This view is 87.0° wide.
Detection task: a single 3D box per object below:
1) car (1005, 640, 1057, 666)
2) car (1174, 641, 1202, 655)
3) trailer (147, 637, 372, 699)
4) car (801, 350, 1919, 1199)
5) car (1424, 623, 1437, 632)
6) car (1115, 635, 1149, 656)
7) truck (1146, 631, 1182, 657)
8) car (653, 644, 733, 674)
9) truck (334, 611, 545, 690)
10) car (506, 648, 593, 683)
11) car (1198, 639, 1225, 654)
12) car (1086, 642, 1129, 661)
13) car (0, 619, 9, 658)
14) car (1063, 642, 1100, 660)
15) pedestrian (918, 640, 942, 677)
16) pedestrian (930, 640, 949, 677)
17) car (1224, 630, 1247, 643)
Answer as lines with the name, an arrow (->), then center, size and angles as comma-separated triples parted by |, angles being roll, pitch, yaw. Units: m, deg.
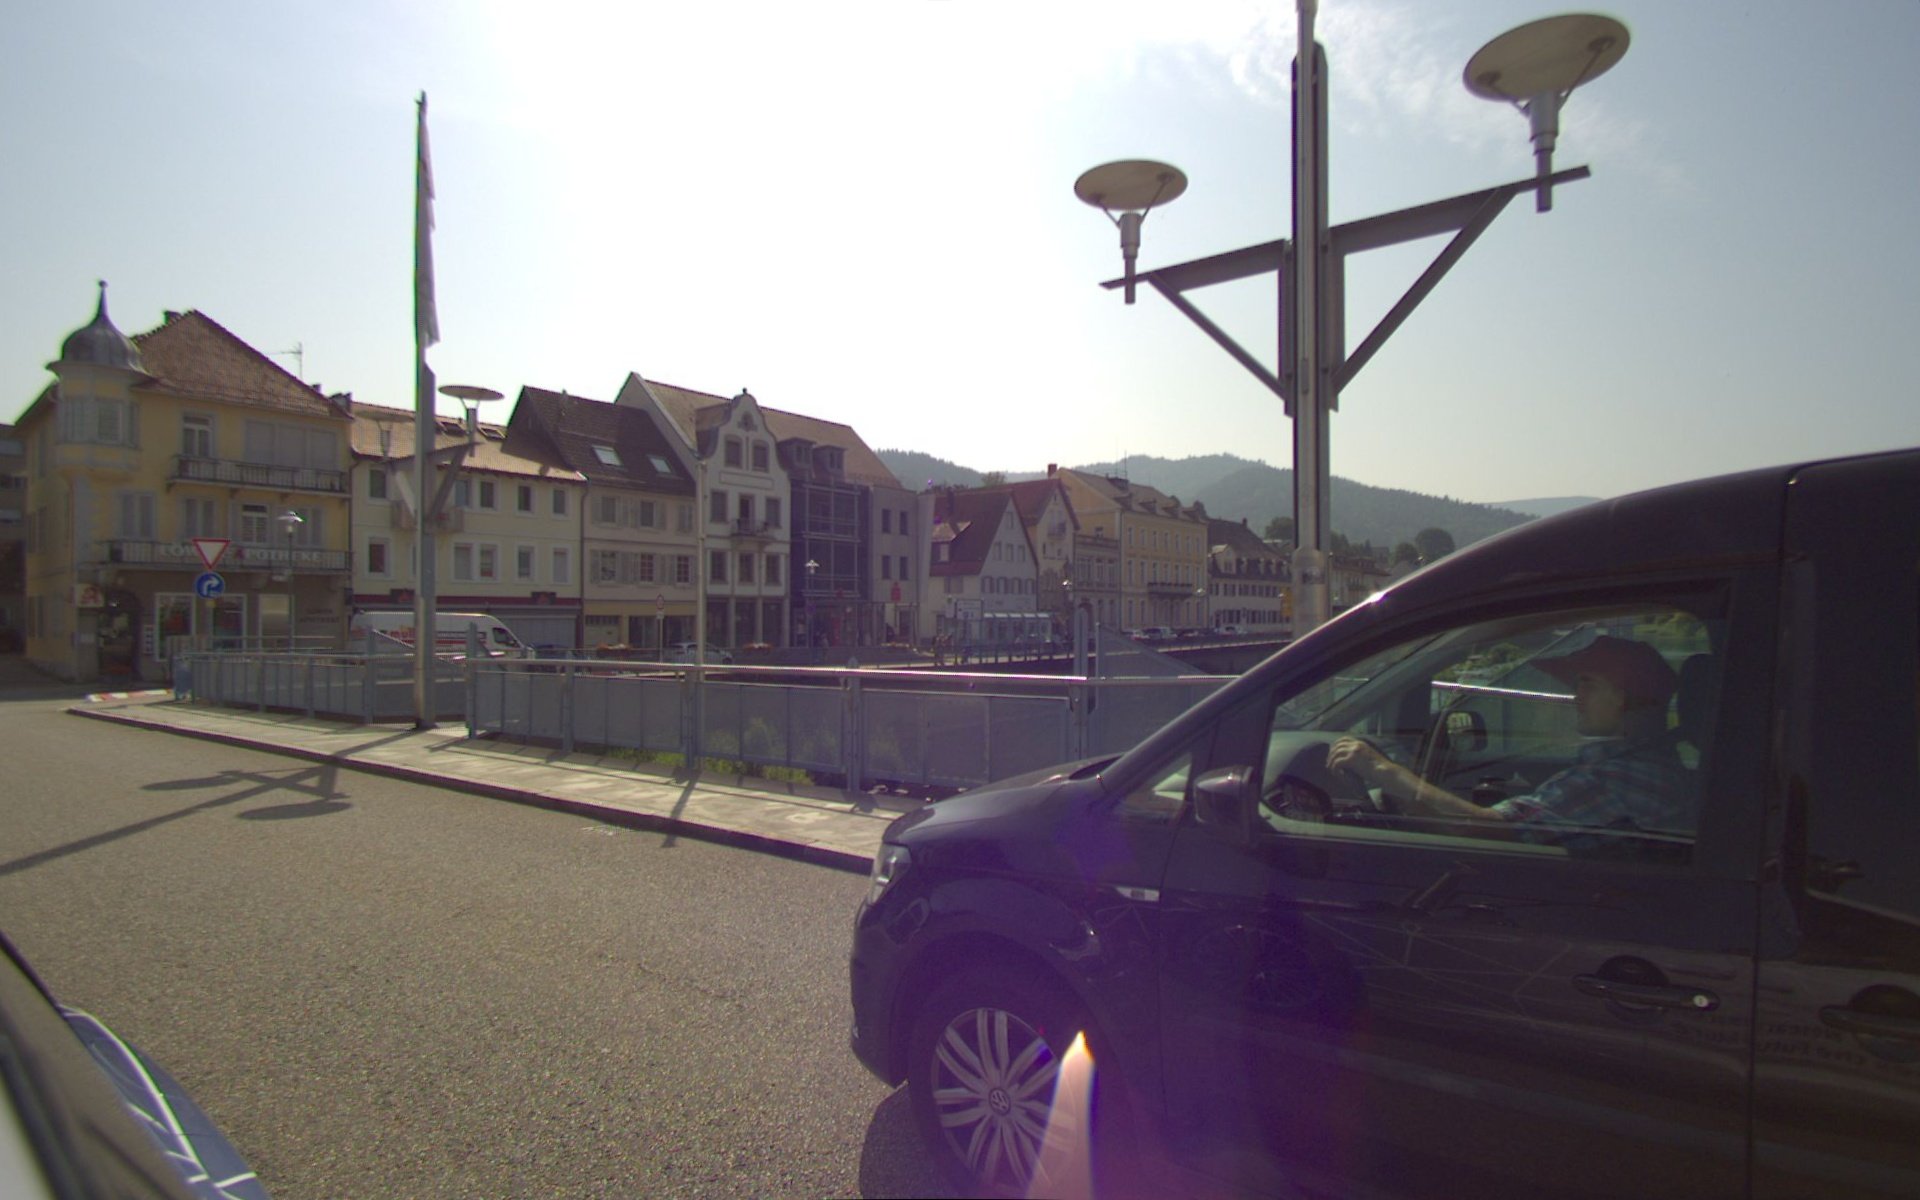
car -> 4.779, 3.507, 67.732 | 1.680, 1.572, 3.923 | -2, -1, 35
car -> 23.431, 4.926, 103.970 | 1.749, 1.459, 3.237 | -2, -2, 35
trailer -> -22.702, 2.147, 33.160 | 2.601, 1.842, 5.597 | -2, -3, 21
car -> 1.981, 0.560, 1.941 | 4.689, 1.806, 1.760 | -2, -1, 37
car -> 82.310, 4.773, 177.060 | 1.515, 1.459, 3.237 | -2, -2, 35
car -> 15.945, 4.198, 93.645 | 1.749, 1.950, 3.534 | -2, -3, 35
truck -> 20.084, 4.315, 99.387 | 1.749, 2.487, 4.605 | -2, -3, 35
car -> -13.788, 3.019, 52.390 | 1.749, 1.459, 3.749 | -2, -2, 35
truck -> -19.620, 1.899, 38.635 | 2.106, 2.720, 7.050 | -4, -4, 34
car -> -18.593, 2.945, 45.946 | 1.749, 1.459, 3.237 | -2, -2, 35
car -> 27.117, 4.989, 108.869 | 1.749, 1.459, 3.237 | -2, -2, 35
car -> 11.989, 4.168, 81.862 | 1.752, 1.367, 4.150 | -3, -2, 35
car -> -48.910, 1.866, 48.123 | 1.994, 1.905, 5.017 | -2, -2, 32
car -> 10.300, 4.290, 85.743 | 1.749, 1.459, 3.237 | -2, -2, 35
pedestrian -> -1.416, 2.782, 48.046 | 0.868, 1.719, 0.767 | -1, -2, 39
pedestrian -> -0.995, 2.807, 48.607 | 0.791, 1.719, 0.485 | -2, -2, 39
car -> 31.236, 4.160, 114.795 | 1.515, 1.459, 3.237 | -2, -2, 35
